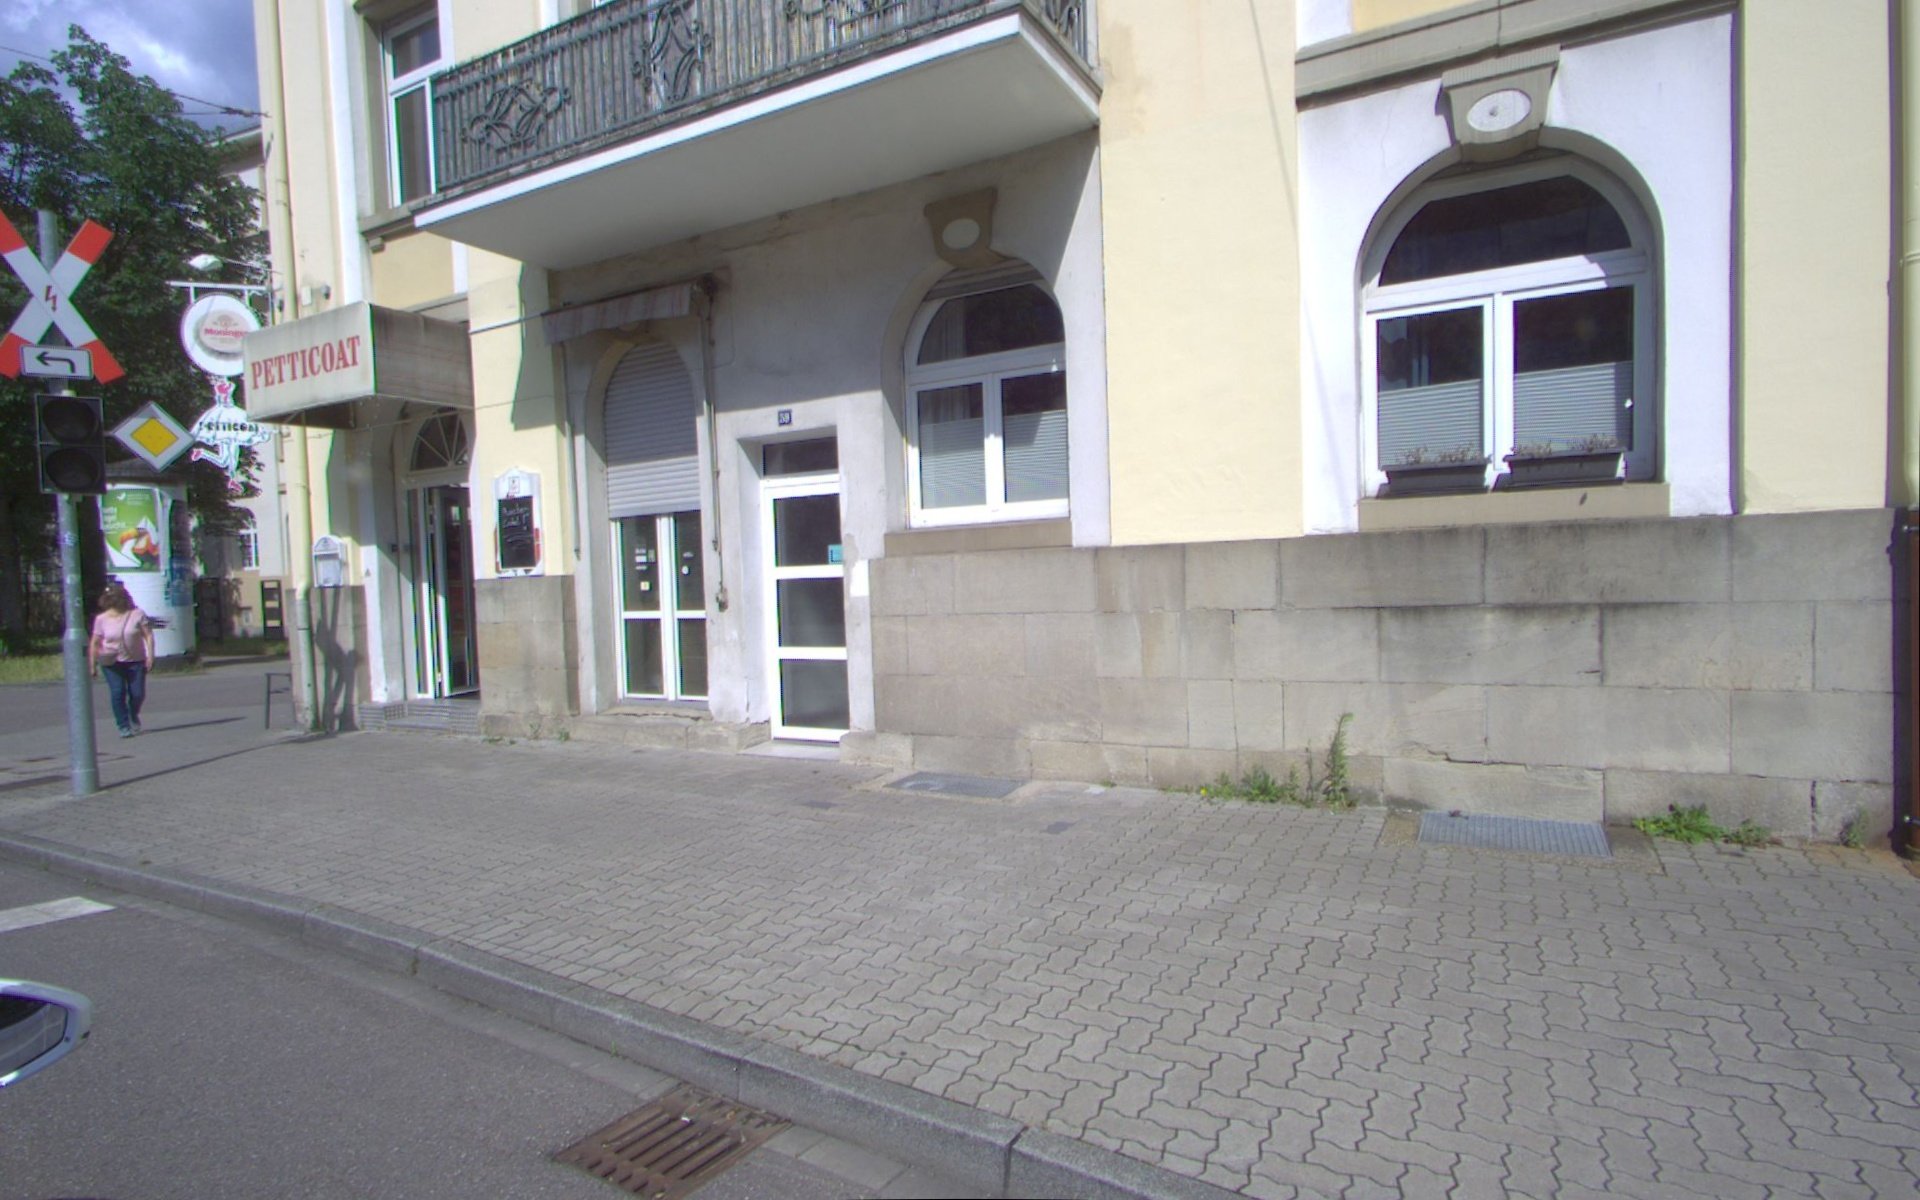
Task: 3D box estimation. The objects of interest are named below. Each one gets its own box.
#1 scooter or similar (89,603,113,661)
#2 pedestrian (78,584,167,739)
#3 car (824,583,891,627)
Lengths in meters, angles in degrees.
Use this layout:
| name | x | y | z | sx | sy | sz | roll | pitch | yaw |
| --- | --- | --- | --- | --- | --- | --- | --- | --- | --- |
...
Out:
| name | x | y | z | sx | sy | sz | roll | pitch | yaw |
| --- | --- | --- | --- | --- | --- | --- | --- | --- | --- |
| scooter or similar | -18.646 | 0.683 | 21.734 | 0.303 | 1.205 | 1.151 | -4 | 3 | -43 |
| pedestrian | -9.584 | 0.676 | 11.488 | 0.666 | 1.671 | 0.757 | -4 | 3 | -38 |
| car | -3.728 | 0.166 | 36.130 | 1.363 | 1.476 | 3.253 | -2 | 2 | -25 |
